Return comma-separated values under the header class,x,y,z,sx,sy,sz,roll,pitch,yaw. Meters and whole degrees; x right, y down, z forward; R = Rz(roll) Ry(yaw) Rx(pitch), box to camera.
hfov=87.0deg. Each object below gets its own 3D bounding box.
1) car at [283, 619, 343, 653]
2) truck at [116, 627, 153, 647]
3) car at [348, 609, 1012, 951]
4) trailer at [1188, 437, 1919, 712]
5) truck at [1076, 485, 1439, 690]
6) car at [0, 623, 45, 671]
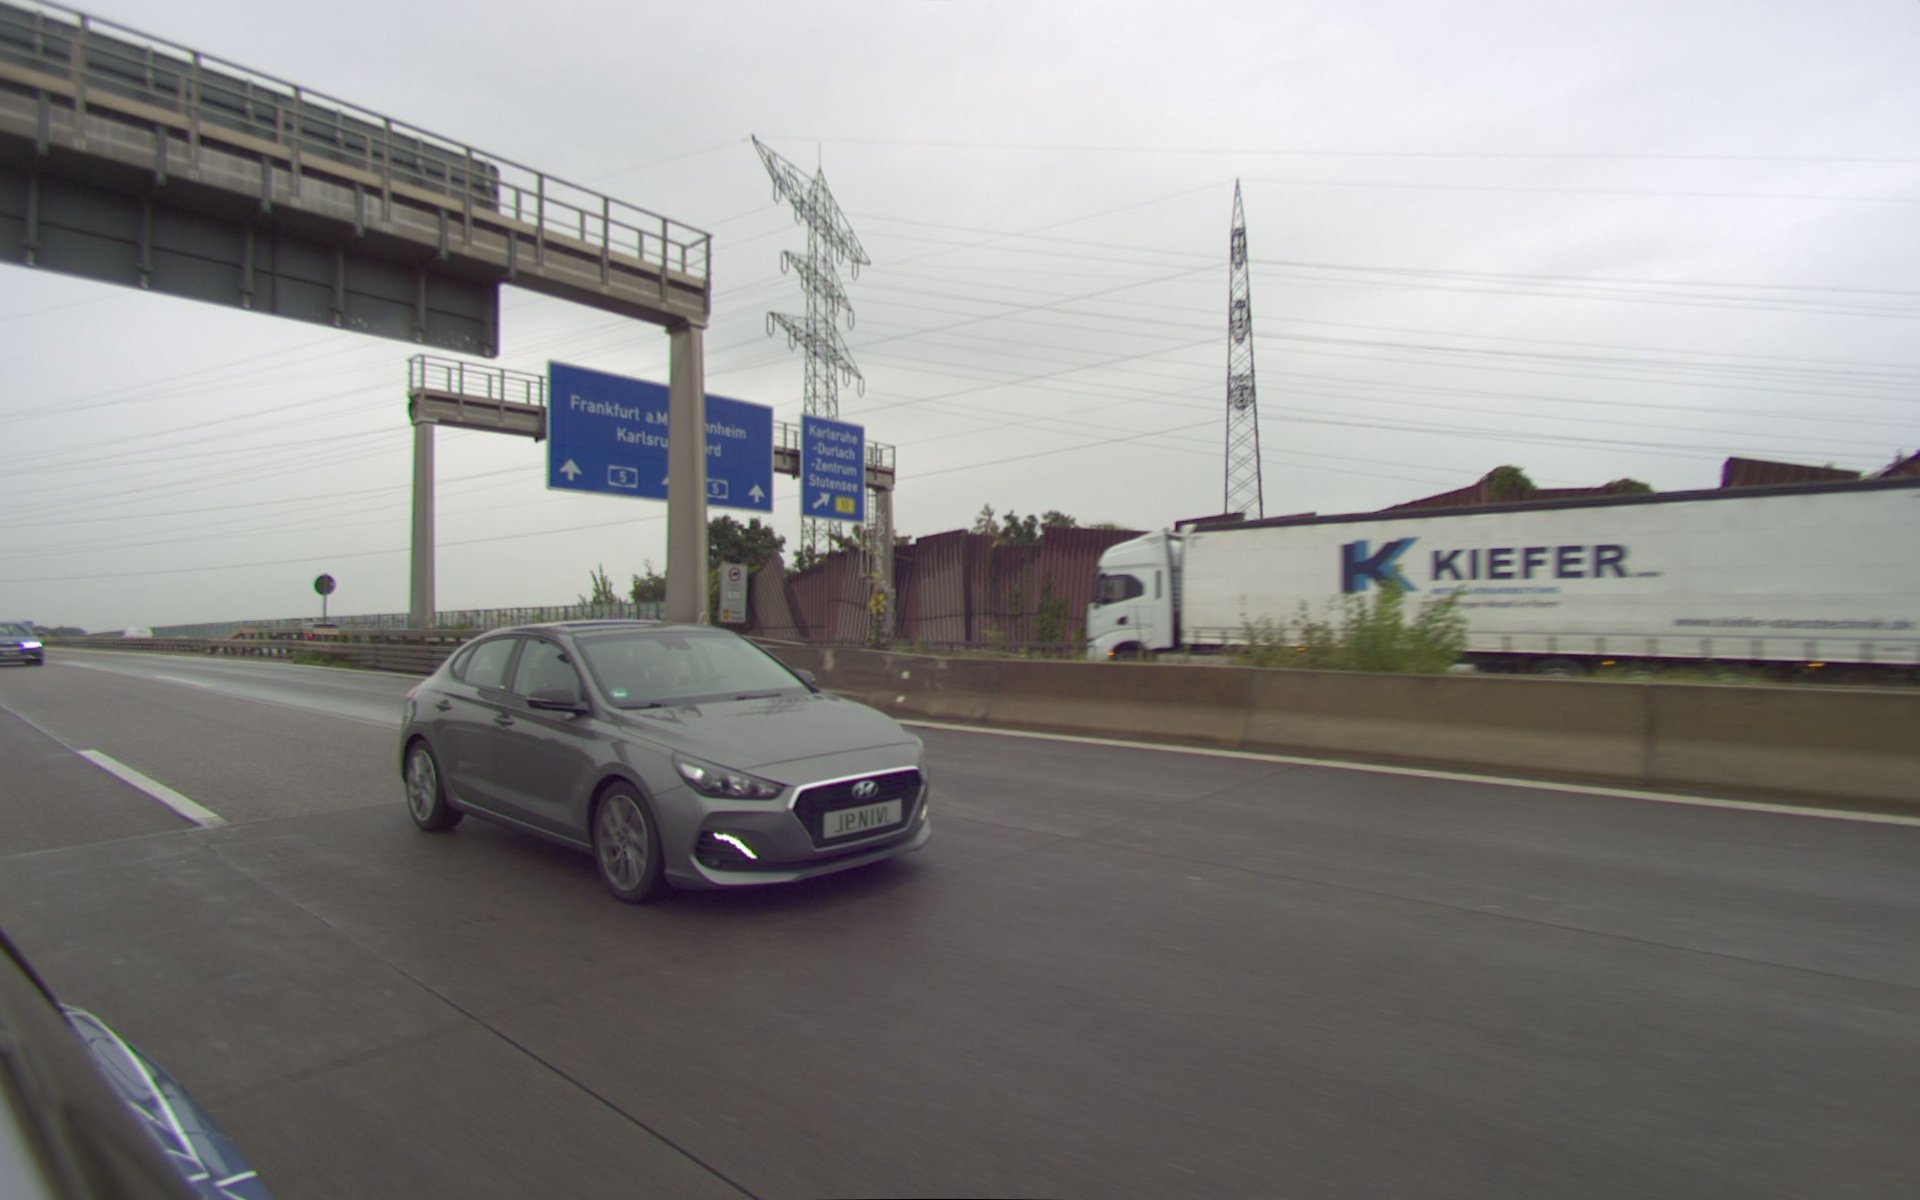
class,x,y,z,sx,sy,sz,roll,pitch,yaw
car,-39.384,2.150,61.553,4.169,1.946,1.973,-1,0,41
truck,-82.162,3.661,100.719,5.247,1.945,1.973,-2,-2,41
car,-2.096,0.790,6.479,4.825,1.413,1.708,-1,0,41
trailer,11.478,-0.313,20.524,13.566,4.218,3.024,-1,0,42
truck,6.975,-0.211,24.616,7.885,4.218,3.024,-1,0,42
car,-34.406,1.644,36.310,5.154,1.606,1.819,-1,-1,42
